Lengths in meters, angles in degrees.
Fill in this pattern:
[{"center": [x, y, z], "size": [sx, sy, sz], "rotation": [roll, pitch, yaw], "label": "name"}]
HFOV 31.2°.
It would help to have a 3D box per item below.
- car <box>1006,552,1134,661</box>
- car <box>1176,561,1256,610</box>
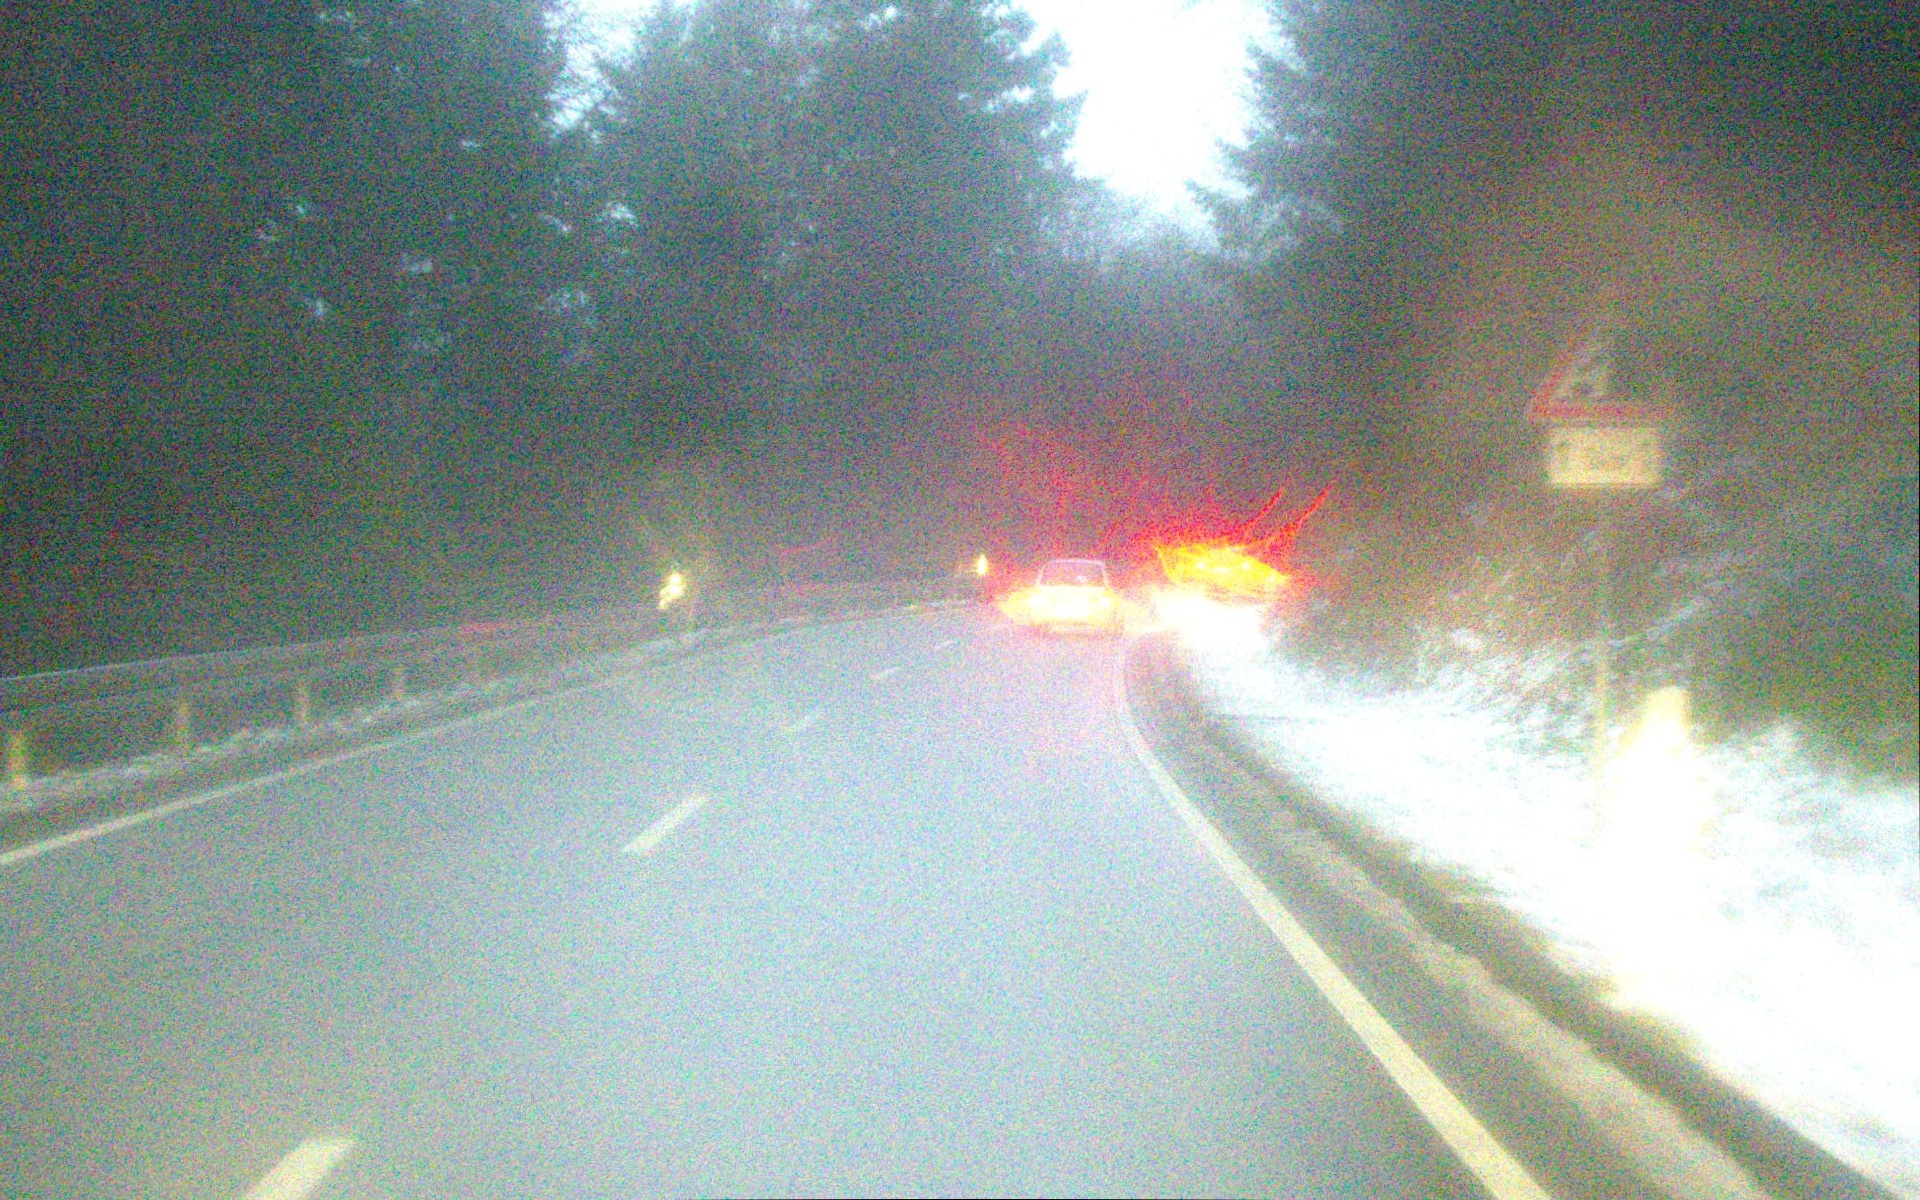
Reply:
[{"center": [2.086, 0.090, 63.976], "size": [1.994, 1.866, 3.999], "rotation": [-2, 1, 7], "label": "car"}, {"center": [7.519, -0.437, 100.734], "size": [1.994, 1.305, 3.999], "rotation": [-2, 1, 9], "label": "car"}]
